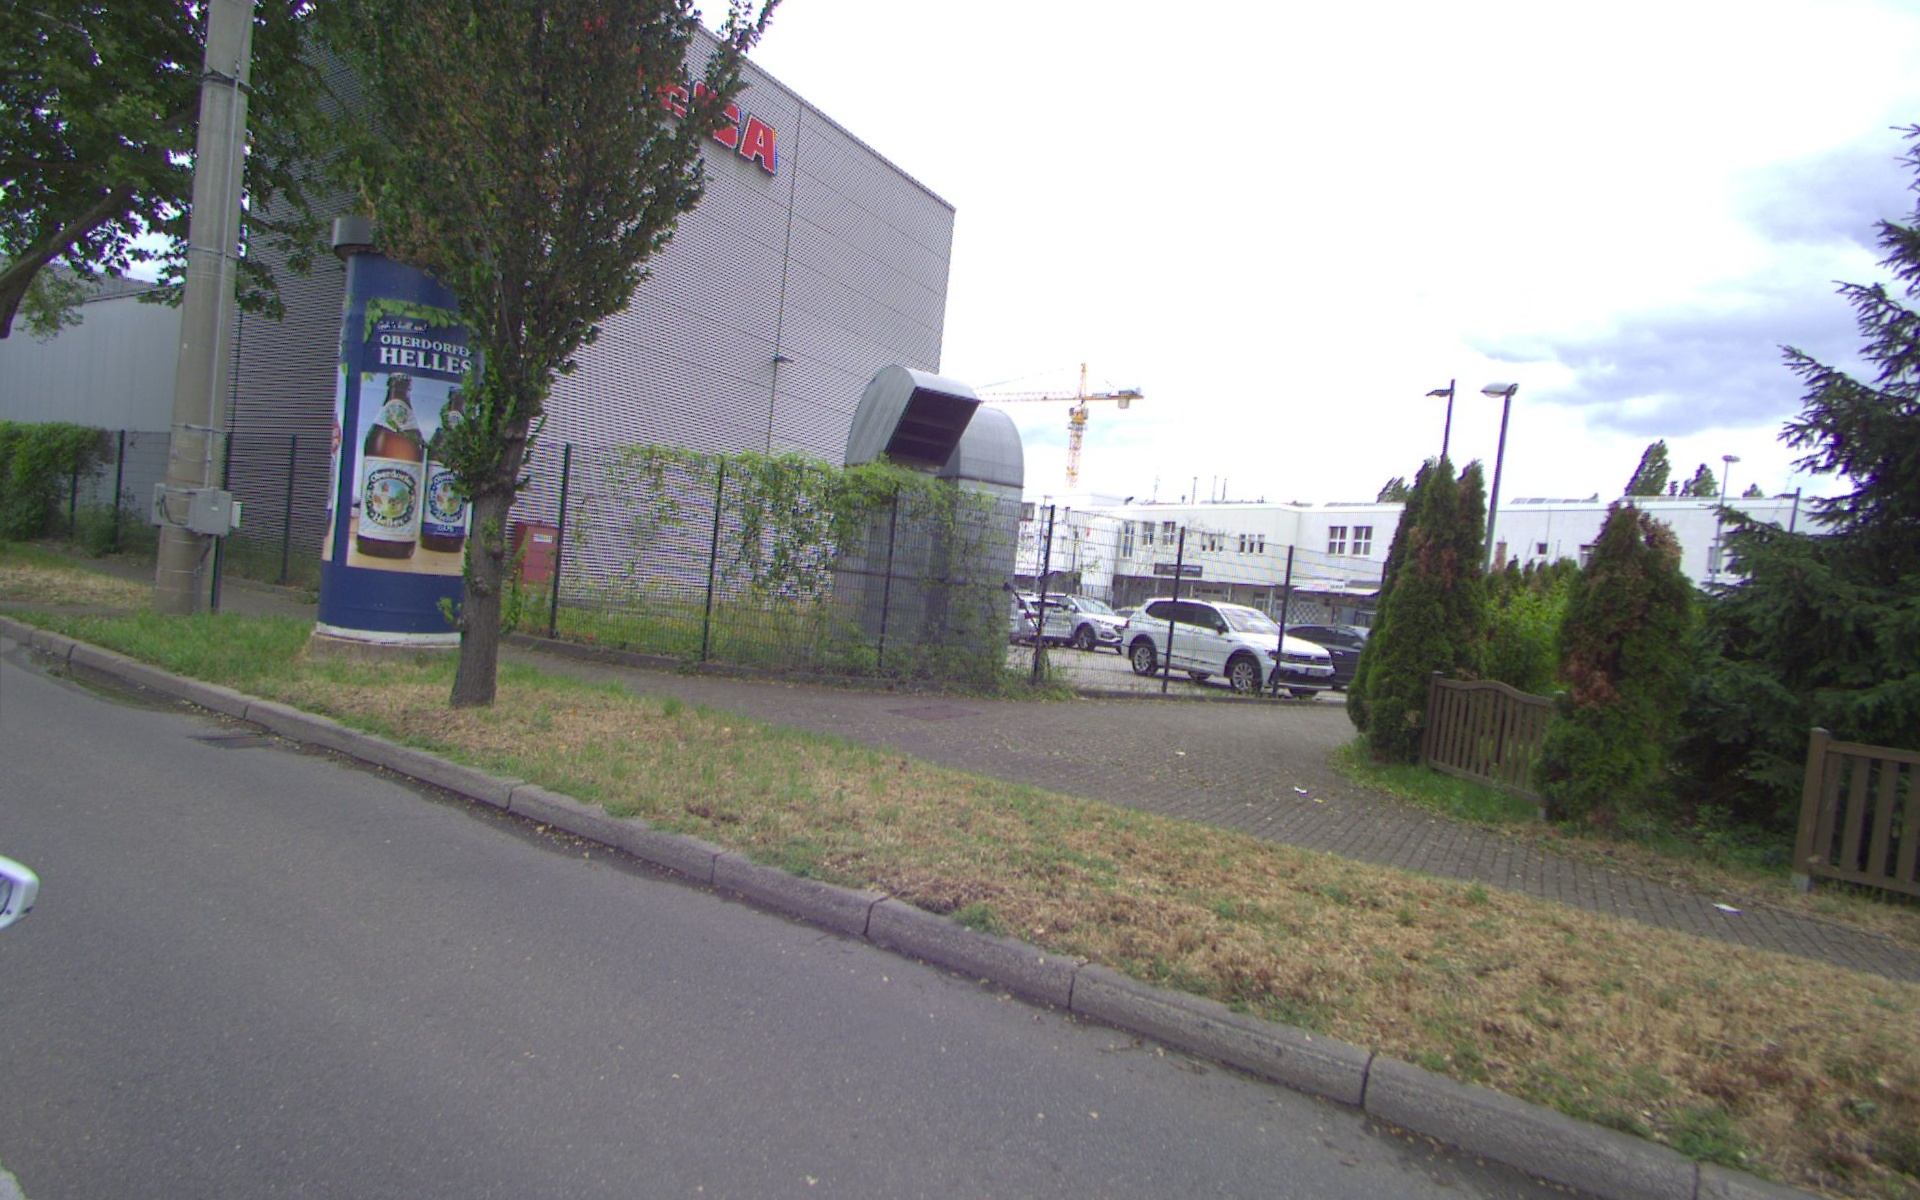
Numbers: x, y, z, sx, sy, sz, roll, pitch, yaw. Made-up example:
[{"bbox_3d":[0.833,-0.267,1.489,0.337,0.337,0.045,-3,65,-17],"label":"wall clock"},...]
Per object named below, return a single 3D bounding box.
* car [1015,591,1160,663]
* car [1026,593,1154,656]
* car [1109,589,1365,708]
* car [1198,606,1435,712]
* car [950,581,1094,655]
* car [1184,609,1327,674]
[{"bbox_3d":[3.889,0.796,31.608,1.978,1.696,4.599,6,1,-31],"label":"car"},{"bbox_3d":[4.567,0.832,36.073,1.978,1.696,4.599,6,1,-31],"label":"car"},{"bbox_3d":[5.234,0.862,19.689,1.978,1.696,4.599,6,1,-31],"label":"car"},{"bbox_3d":[7.713,1.230,22.244,1.978,1.696,4.599,6,1,-31],"label":"car"},{"bbox_3d":[1.777,0.490,30.521,1.978,1.696,4.599,6,1,-31],"label":"car"},{"bbox_3d":[10.369,1.417,35.602,1.978,1.696,4.599,6,1,-31],"label":"car"}]
